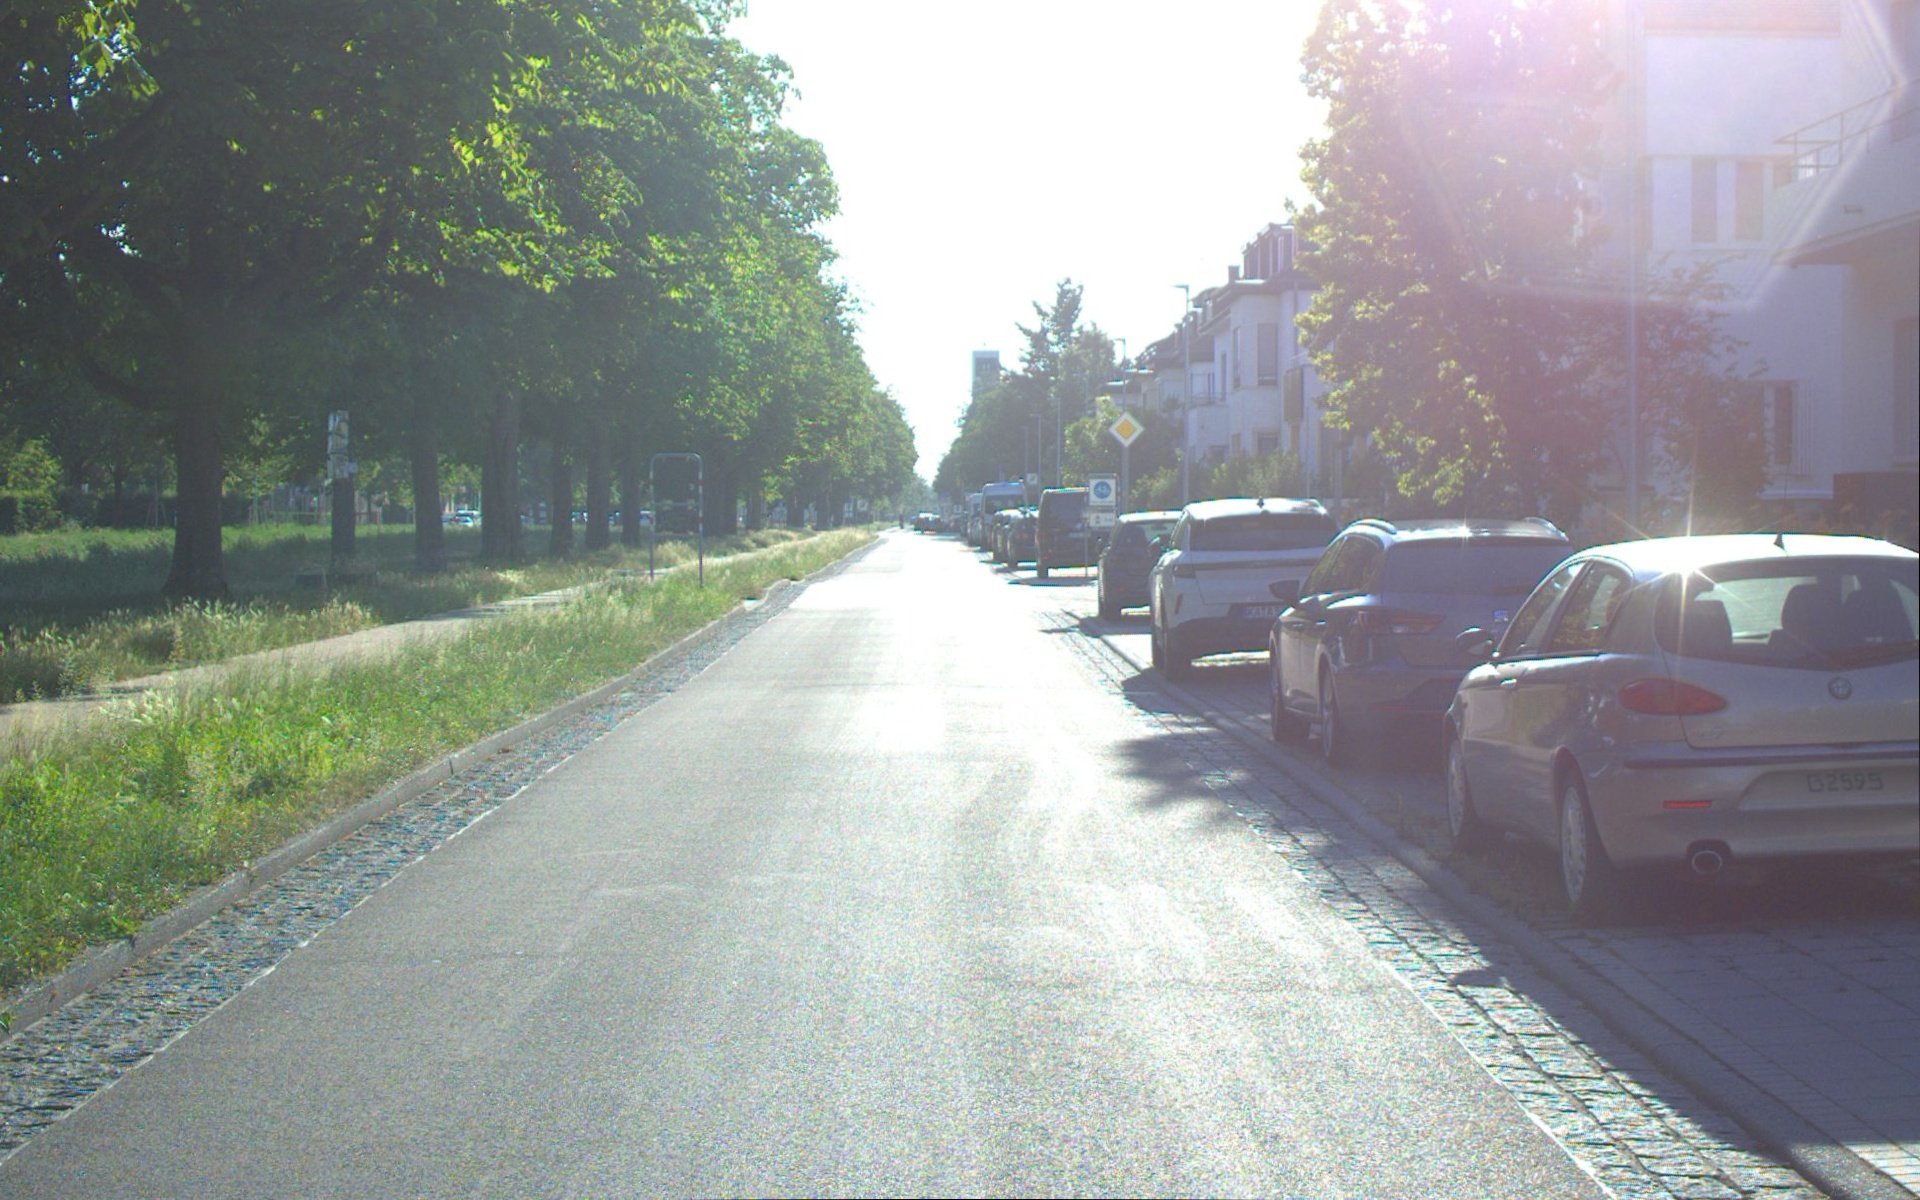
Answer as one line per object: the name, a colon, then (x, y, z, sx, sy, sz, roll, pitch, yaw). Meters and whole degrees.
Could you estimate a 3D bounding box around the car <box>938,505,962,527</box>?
car: (-0.747, -6.320, 257.299, 1.650, 1.525, 3.851, 4, 2, 1)

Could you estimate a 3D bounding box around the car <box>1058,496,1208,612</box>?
car: (2.366, -0.677, 47.883, 1.794, 1.477, 4.124, -2, 2, -1)

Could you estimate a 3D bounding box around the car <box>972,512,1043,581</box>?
car: (1.273, -1.485, 94.235, 1.794, 1.765, 4.473, -2, 2, -1)

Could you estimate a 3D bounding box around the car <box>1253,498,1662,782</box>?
car: (2.896, 0.159, 20.872, 1.794, 1.489, 4.194, -2, 2, -1)

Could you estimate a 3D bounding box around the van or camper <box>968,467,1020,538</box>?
van or camper: (1.357, -3.933, 139.467, 1.943, 2.768, 5.940, 1, 1, 0)

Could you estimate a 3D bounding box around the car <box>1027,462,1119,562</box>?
car: (2.515, -2.011, 77.798, 1.906, 2.124, 4.814, -2, 2, 1)

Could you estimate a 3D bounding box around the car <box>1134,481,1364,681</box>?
car: (2.661, -0.246, 32.543, 1.905, 1.702, 4.575, -2, 2, 2)

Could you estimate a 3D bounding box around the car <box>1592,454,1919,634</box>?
car: (9.239, -0.627, 38.102, 3.982, 1.838, 1.816, 2, 3, -6)

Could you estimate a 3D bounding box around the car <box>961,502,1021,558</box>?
car: (0.992, -2.302, 112.448, 1.832, 1.679, 4.416, 2, 2, 0)

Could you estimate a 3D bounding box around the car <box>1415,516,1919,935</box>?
car: (3.054, 0.386, 13.977, 1.794, 1.375, 4.079, -2, 2, -1)
